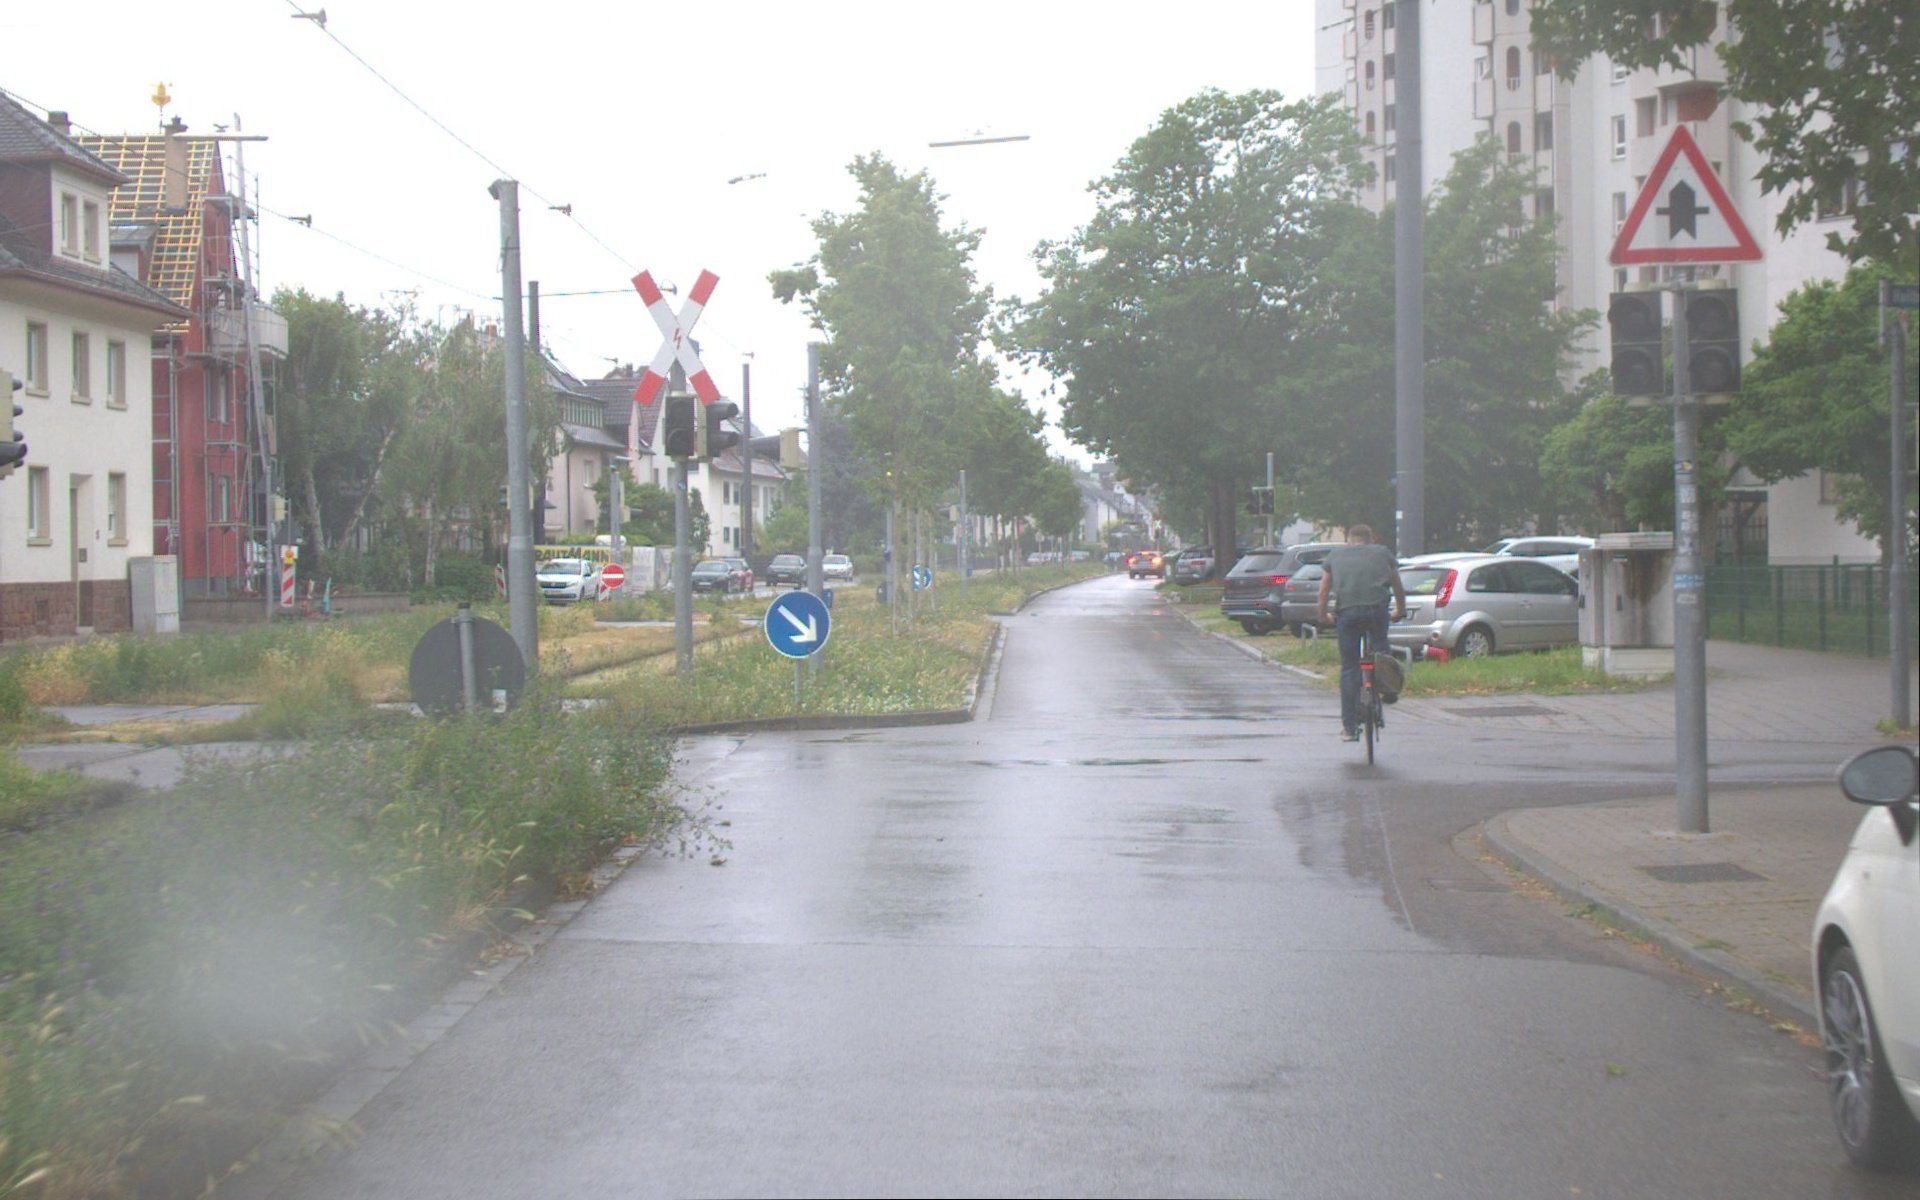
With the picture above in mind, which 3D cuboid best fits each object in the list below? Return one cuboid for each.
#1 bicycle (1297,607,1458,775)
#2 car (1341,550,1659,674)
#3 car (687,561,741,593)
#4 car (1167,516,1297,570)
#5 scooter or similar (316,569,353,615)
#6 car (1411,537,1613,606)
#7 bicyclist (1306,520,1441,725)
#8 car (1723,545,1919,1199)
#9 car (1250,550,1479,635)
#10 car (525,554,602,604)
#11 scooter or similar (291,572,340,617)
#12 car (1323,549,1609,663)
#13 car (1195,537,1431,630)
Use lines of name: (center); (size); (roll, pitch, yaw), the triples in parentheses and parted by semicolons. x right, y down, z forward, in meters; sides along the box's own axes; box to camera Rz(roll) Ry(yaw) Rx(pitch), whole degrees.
bicycle: (2.965, 0.620, 24.653); (0.809, 1.093, 2.517); (-1, 1, -1)
car: (7.223, 0.154, 45.878); (3.987, 1.503, 1.784); (-2, -1, -34)
car: (-10.286, -0.977, 143.982); (1.663, 1.240, 4.071); (2, 1, 4)
car: (9.738, -2.027, 122.948); (4.134, 1.713, 2.000); (-4, 2, -29)
scooter or similar: (-16.188, -0.223, 88.953); (0.394, 1.176, 1.282); (0, 1, 17)
car: (14.434, -0.756, 89.977); (4.801, 1.739, 2.001); (0, 1, -12)
bicyclist: (2.959, 0.151, 24.681); (0.809, 1.428, 1.060); (-1, 1, 0)
car: (2.948, 0.627, 7.601); (1.558, 1.514, 4.000); (-1, 1, -1)
car: (7.227, -0.148, 61.257); (3.988, 1.424, 1.734); (-2, 1, -39)
car: (-13.185, -0.716, 114.611); (1.710, 1.537, 4.421); (2, 1, 4)
scooter or similar: (-16.086, -0.139, 85.845); (0.441, 1.125, 1.280); (0, 1, 32)
car: (7.272, 0.079, 49.256); (3.988, 1.503, 1.705); (-1, -1, -37)
car: (6.622, -0.321, 64.298); (4.337, 1.645, 1.857); (-2, 1, -39)
